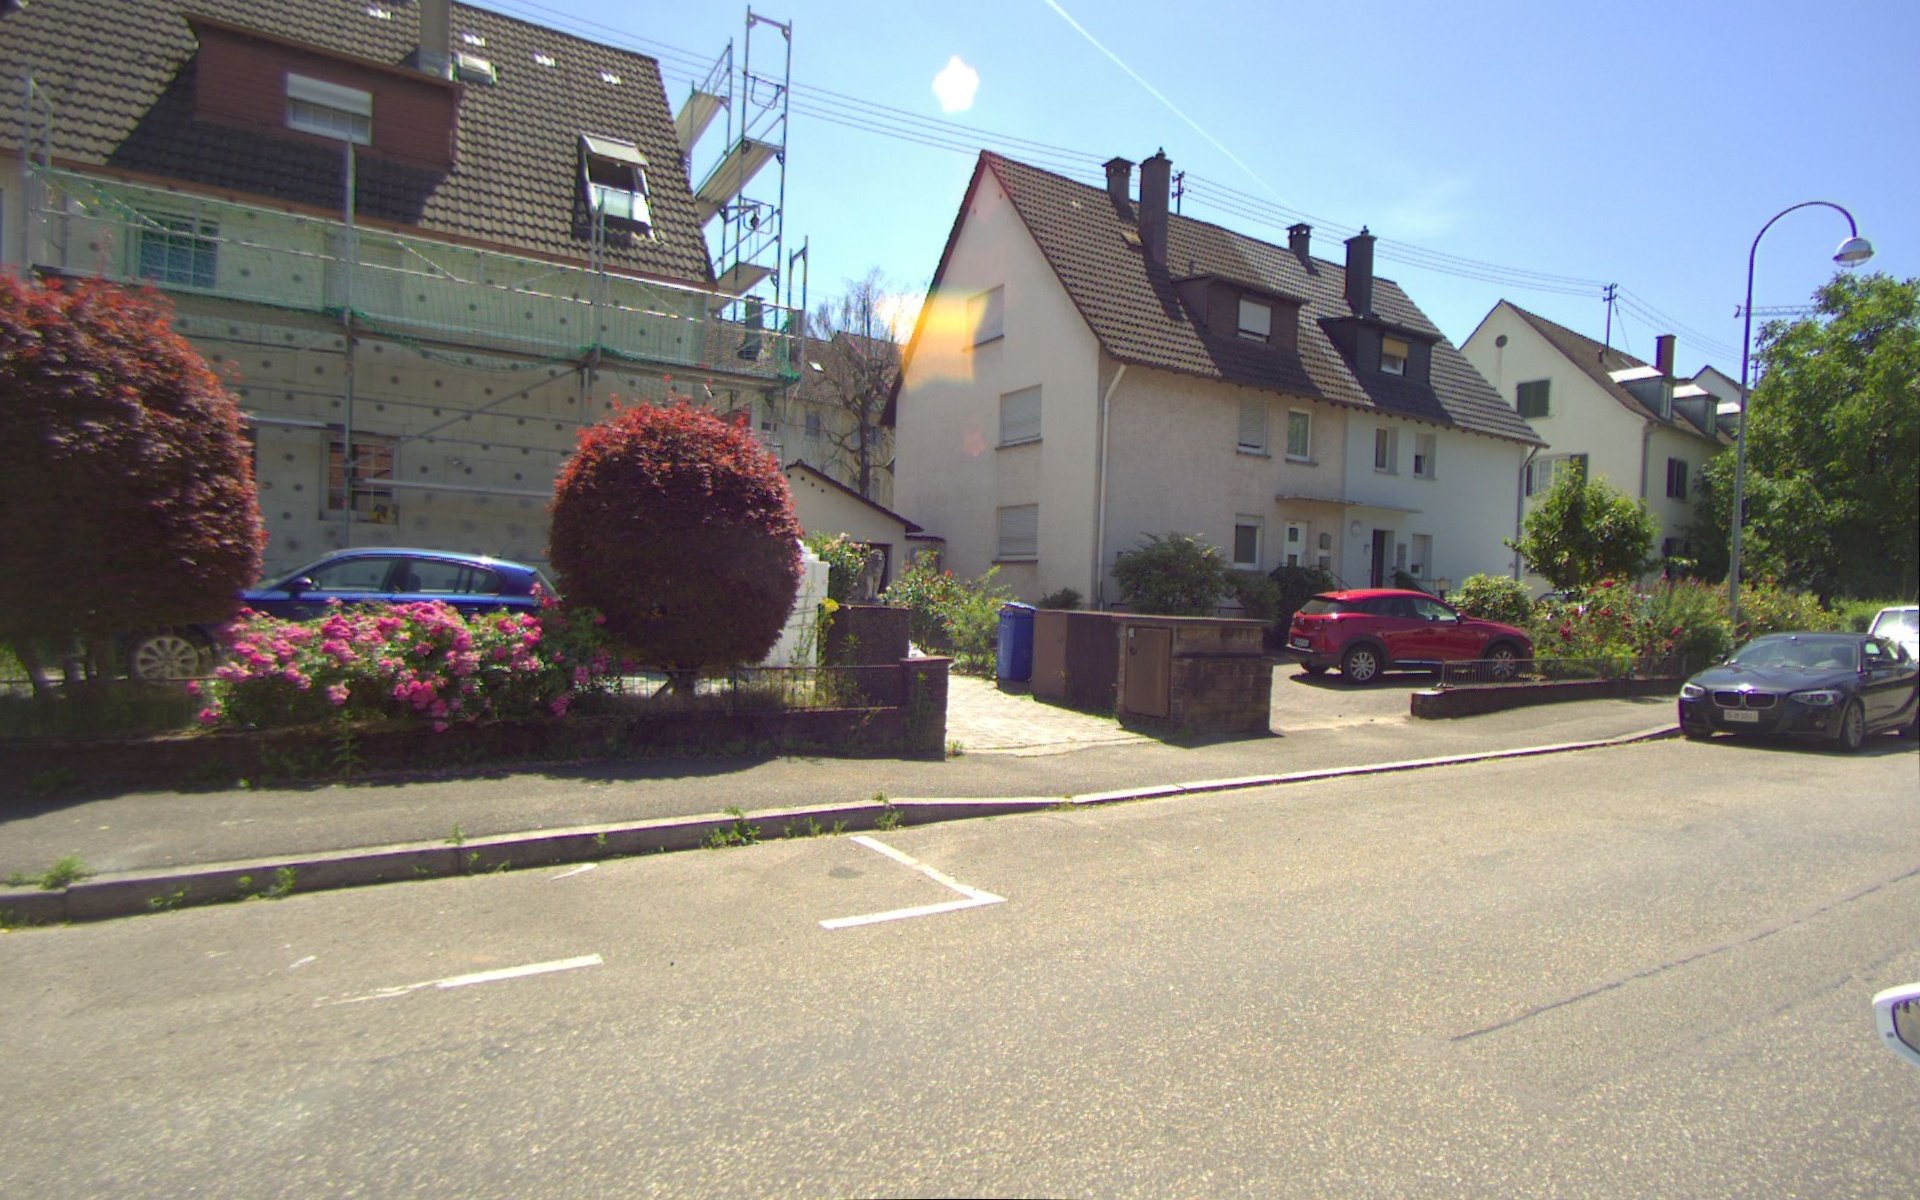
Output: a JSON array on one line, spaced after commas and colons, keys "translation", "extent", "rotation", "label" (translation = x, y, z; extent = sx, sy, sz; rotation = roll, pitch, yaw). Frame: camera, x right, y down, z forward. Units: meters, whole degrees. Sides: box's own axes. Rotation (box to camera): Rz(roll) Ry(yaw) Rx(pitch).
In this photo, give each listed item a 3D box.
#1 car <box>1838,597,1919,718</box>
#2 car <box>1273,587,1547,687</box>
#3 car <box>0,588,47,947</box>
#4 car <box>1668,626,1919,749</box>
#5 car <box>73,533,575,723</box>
[{"translation": [17.237, 0.986, 17.397], "extent": [4.929, 1.906, 1.874], "rotation": [2, -1, -34], "label": "car"}, {"translation": [7.722, 0.586, 17.416], "extent": [4.035, 1.532, 1.645], "rotation": [0, 4, -7], "label": "car"}, {"translation": [-5.563, 0.650, 2.876], "extent": [4.009, 1.497, 1.753], "rotation": [1, -2, -29], "label": "car"}, {"translation": [11.284, 1.062, 13.320], "extent": [4.190, 1.402, 1.689], "rotation": [1, -2, -33], "label": "car"}, {"translation": [-6.138, 0.230, 10.135], "extent": [3.955, 1.535, 1.676], "rotation": [1, 5, -32], "label": "car"}]
